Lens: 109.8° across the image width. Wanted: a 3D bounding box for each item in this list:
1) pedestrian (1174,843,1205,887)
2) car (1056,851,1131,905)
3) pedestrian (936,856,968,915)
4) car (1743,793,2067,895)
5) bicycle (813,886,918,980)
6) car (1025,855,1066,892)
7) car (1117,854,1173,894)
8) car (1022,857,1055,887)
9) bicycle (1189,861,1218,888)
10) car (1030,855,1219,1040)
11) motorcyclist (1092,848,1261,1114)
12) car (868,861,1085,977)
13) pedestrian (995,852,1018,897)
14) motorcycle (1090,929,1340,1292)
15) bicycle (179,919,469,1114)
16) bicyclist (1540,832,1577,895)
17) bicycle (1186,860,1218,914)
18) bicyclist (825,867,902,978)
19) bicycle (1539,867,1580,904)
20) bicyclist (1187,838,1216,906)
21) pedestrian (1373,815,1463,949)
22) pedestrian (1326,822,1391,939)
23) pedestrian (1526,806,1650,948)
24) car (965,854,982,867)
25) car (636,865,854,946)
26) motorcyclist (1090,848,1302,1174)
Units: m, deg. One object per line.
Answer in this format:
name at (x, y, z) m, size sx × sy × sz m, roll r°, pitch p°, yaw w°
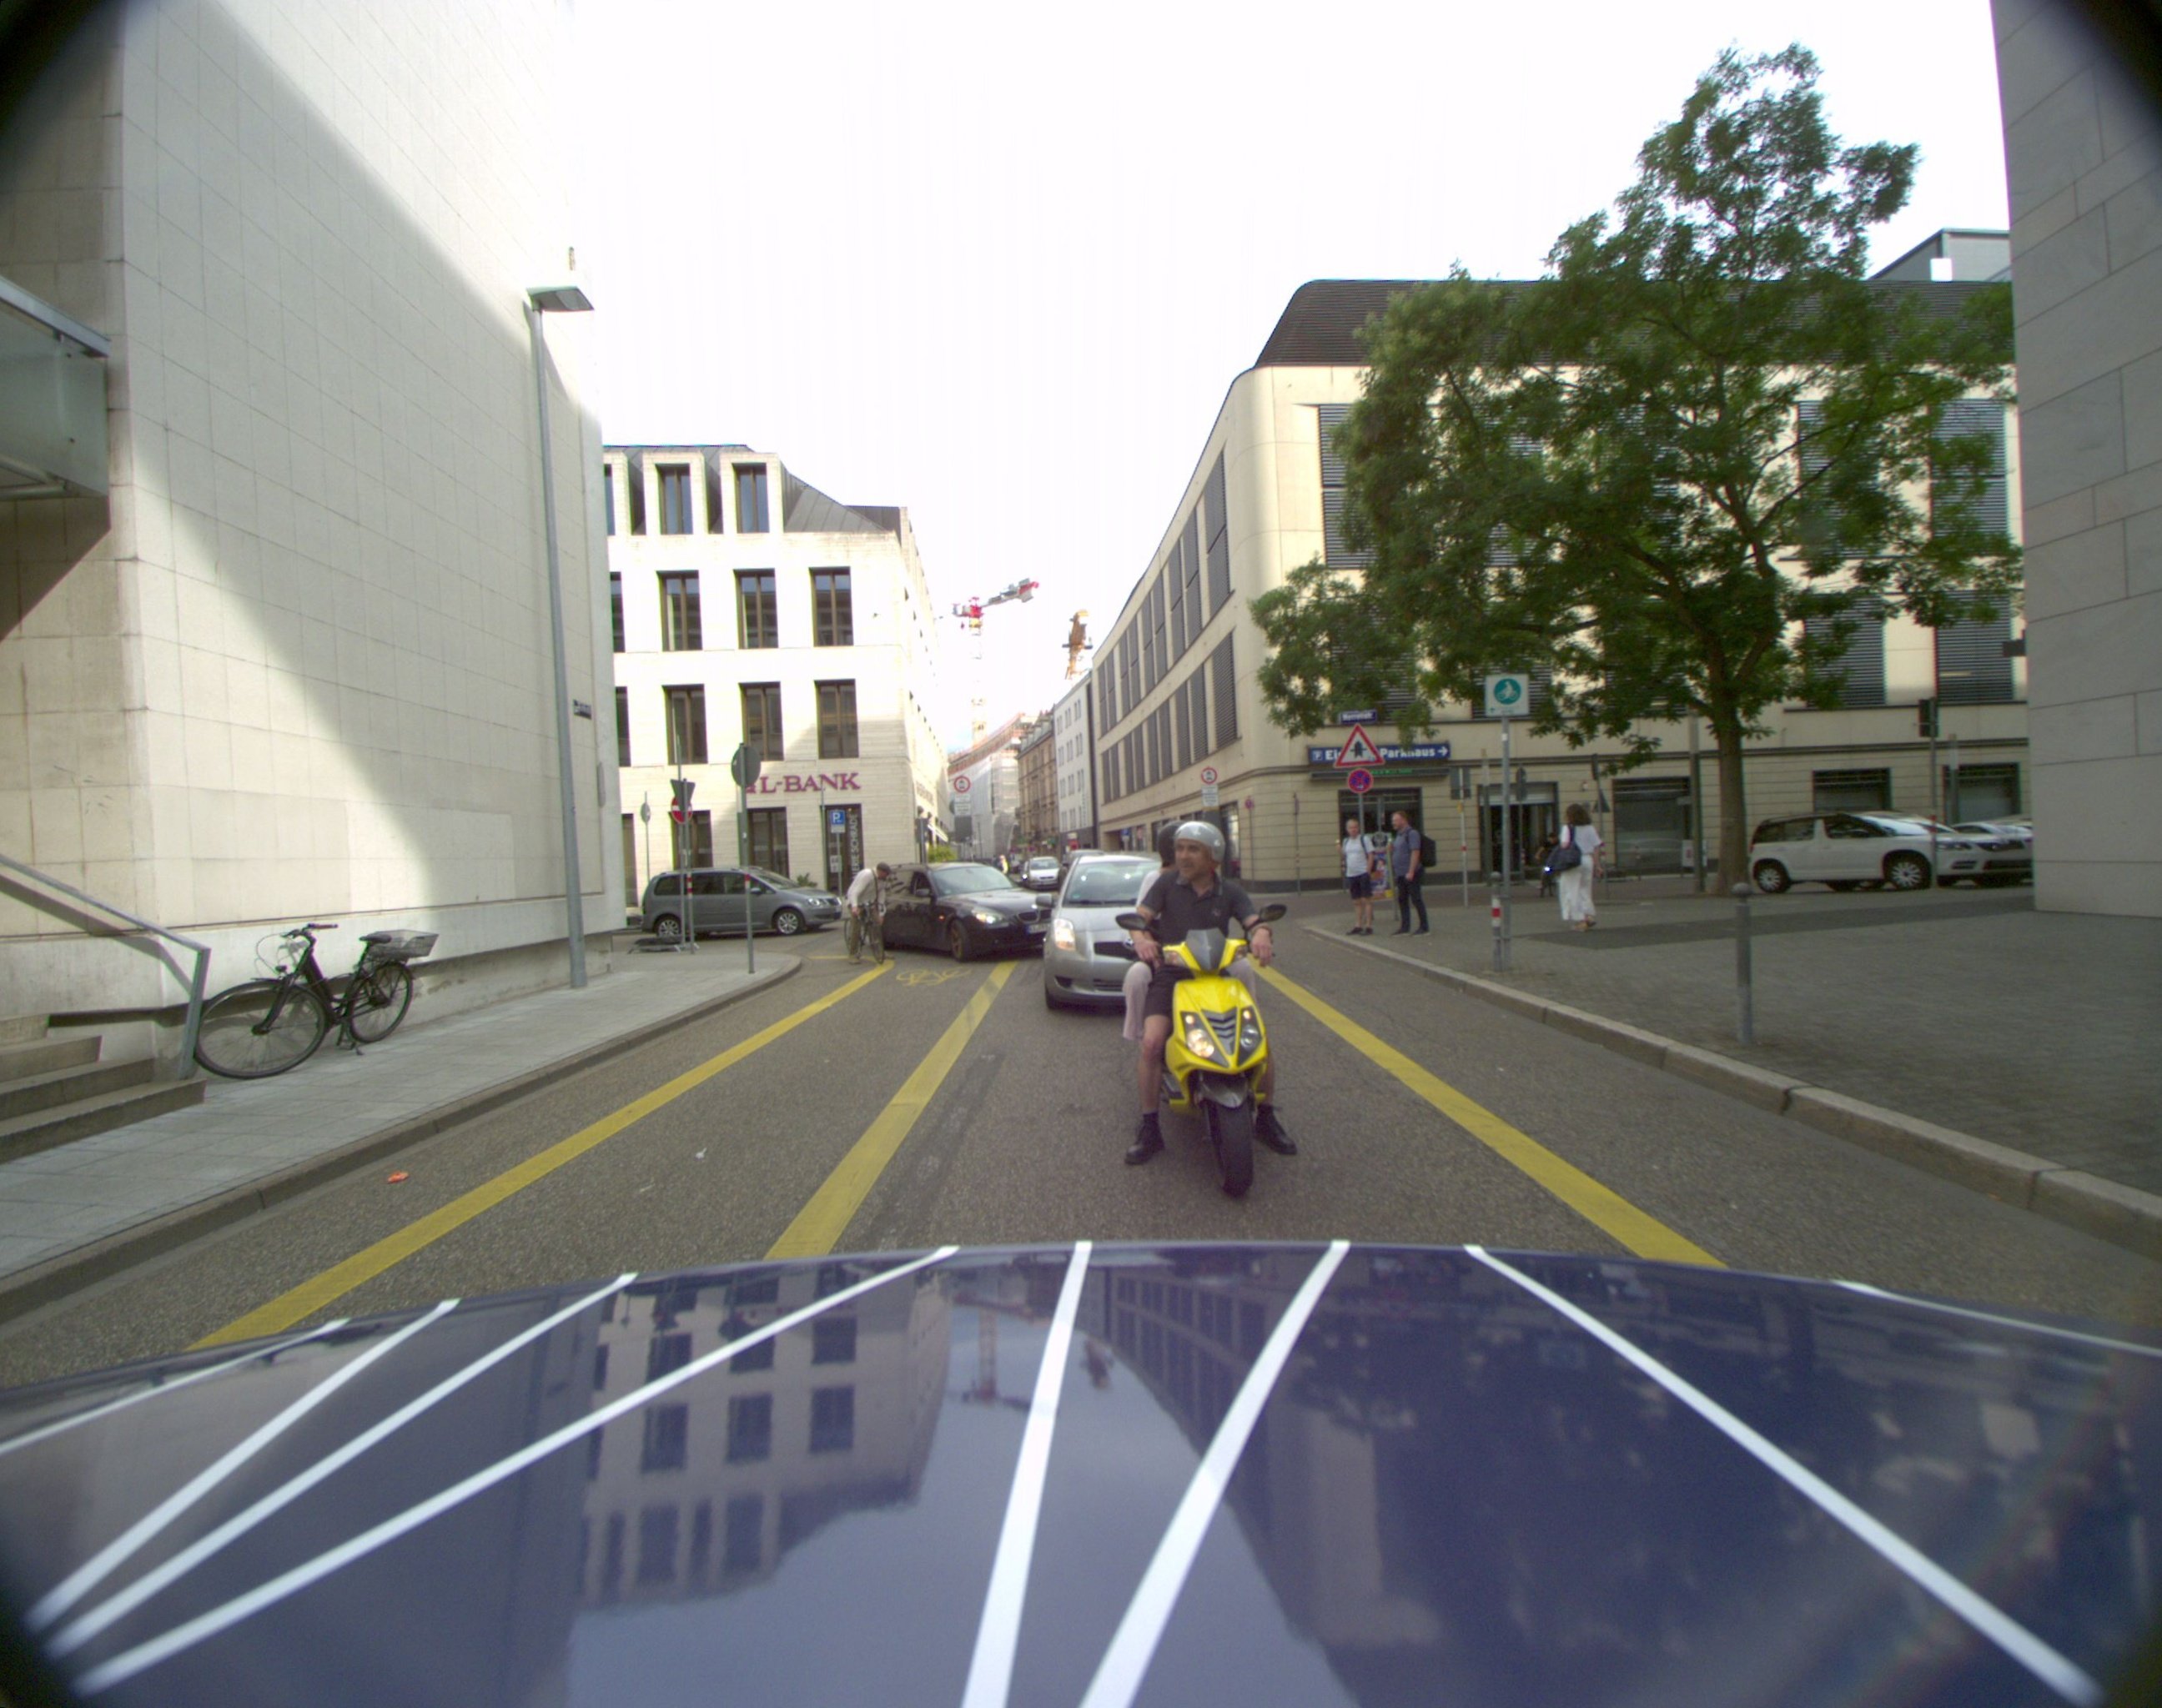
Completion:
pedestrian at (4.658, 0.467, 32.697) m, size 0.892 × 1.755 × 1.060 m, roll -6°, pitch 1°, yaw -6°
car at (0.318, 0.692, 24.362) m, size 1.710 × 1.482 × 4.100 m, roll -3°, pitch 1°, yaw -8°
pedestrian at (-4.140, 0.981, 24.371) m, size 0.774 × 1.820 × 0.860 m, roll -3°, pitch 1°, yaw -20°
car at (15.909, -0.077, 15.050) m, size 1.899 × 1.682 × 3.964 m, roll -2°, pitch -3°, yaw -3°
bicycle at (-3.473, 1.157, 12.005) m, size 0.872 × 1.188 × 2.857 m, roll -3°, pitch 1°, yaw -30°
car at (-1.740, 0.893, 35.929) m, size 1.563 × 1.547 × 4.100 m, roll -3°, pitch 1°, yaw -7°
car at (2.716, 0.808, 33.121) m, size 1.563 × 1.547 × 4.100 m, roll -3°, pitch 1°, yaw -7°
car at (-2.409, 0.982, 42.373) m, size 1.589 × 1.477 × 3.997 m, roll -2°, pitch 1°, yaw -6°
bicycle at (5.353, 0.879, 33.276) m, size 0.692 × 1.038 × 2.543 m, roll -2°, pitch 1°, yaw -4°
car at (0.433, 0.811, 8.436) m, size 1.562 × 1.482 × 3.784 m, roll -3°, pitch 1°, yaw 2°
motorcyclist at (0.529, 0.698, 4.523) m, size 0.903 × 1.445 × 0.742 m, roll -1°, pitch 0°, yaw 1°
car at (-1.808, 0.927, 12.229) m, size 1.720 × 1.482 × 3.755 m, roll -3°, pitch 1°, yaw -38°
pedestrian at (-3.119, 0.857, 31.888) m, size 0.861 × 1.820 × 0.773 m, roll -2°, pitch 1°, yaw -4°
motorcycle at (0.526, 1.075, 3.931) m, size 0.929 × 1.158 × 2.127 m, roll -1°, pitch 0°, yaw 1°
bicycle at (-6.002, 1.210, 6.204) m, size 0.590 × 1.160 × 1.814 m, roll -2°, pitch 1°, yaw -4°
bicyclist at (12.816, 0.254, 20.390) m, size 0.621 × 1.609 × 0.645 m, roll -5°, pitch 0°, yaw 40°
bicycle at (2.982, 0.788, 18.880) m, size 0.648 × 1.233 × 1.953 m, roll 0°, pitch 1°, yaw 6°
bicyclist at (-3.374, 1.024, 11.783) m, size 0.894 × 1.585 × 0.875 m, roll -3°, pitch 1°, yaw -30°
bicycle at (12.828, 0.829, 20.360) m, size 0.600 × 0.829 × 1.728 m, roll -7°, pitch -2°, yaw 41°
bicyclist at (2.975, 0.419, 18.867) m, size 0.644 × 1.644 × 0.940 m, roll 0°, pitch 1°, yaw 6°
pedestrian at (4.858, 0.391, 10.989) m, size 0.745 × 1.804 × 0.756 m, roll -6°, pitch 1°, yaw -11°
pedestrian at (4.311, 0.400, 11.821) m, size 0.644 × 1.755 × 0.653 m, roll -3°, pitch 1°, yaw -11°
pedestrian at (6.640, 0.283, 10.004) m, size 0.879 × 1.699 × 0.910 m, roll -6°, pitch 1°, yaw 0°
car at (-13.544, 0.769, 95.488) m, size 1.590 × 1.477 × 3.994 m, roll -2°, pitch 1°, yaw -15°
car at (-7.705, 1.163, 17.747) m, size 4.193 × 1.581 × 1.814 m, roll -2°, pitch 1°, yaw -2°
motorcyclist at (0.521, 0.701, 3.912) m, size 0.924 × 1.445 × 1.065 m, roll -1°, pitch 0°, yaw 1°
